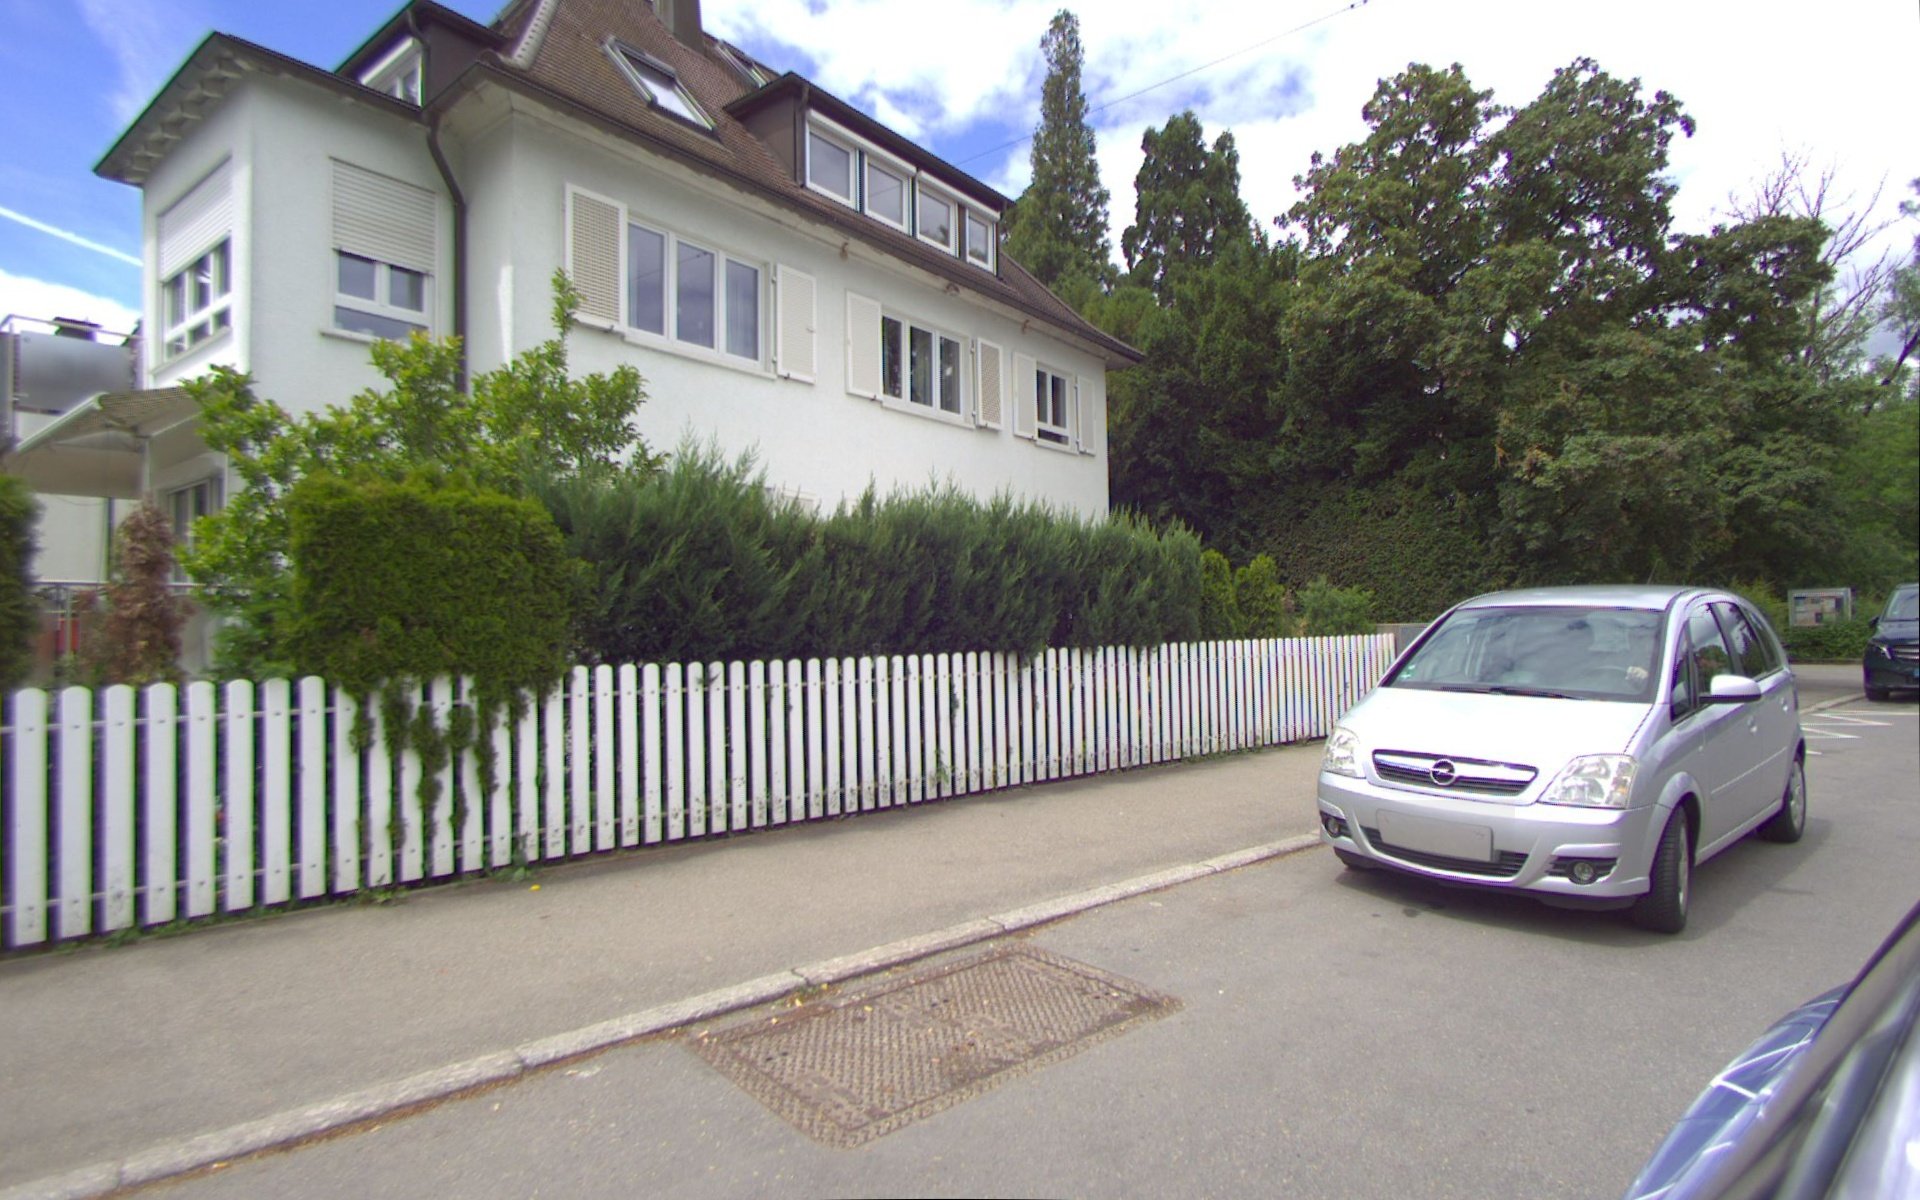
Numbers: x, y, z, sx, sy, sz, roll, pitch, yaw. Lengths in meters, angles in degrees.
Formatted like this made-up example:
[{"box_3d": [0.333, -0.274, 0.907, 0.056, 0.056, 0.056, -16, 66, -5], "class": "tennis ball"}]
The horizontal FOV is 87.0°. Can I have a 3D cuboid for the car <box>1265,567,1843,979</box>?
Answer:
[{"box_3d": [3.650, 0.656, 5.914, 3.948, 1.602, 1.762, 0, 0, -41], "class": "car"}]

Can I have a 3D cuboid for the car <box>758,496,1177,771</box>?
[{"box_3d": [0.312, 0.399, 12.746, 2.494, 2.717, 5.109, -5, -3, 41], "class": "car"}]

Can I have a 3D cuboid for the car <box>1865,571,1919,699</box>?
[{"box_3d": [16.286, 0.475, 16.063, 5.063, 1.872, 1.913, -1, -2, -38], "class": "car"}]
